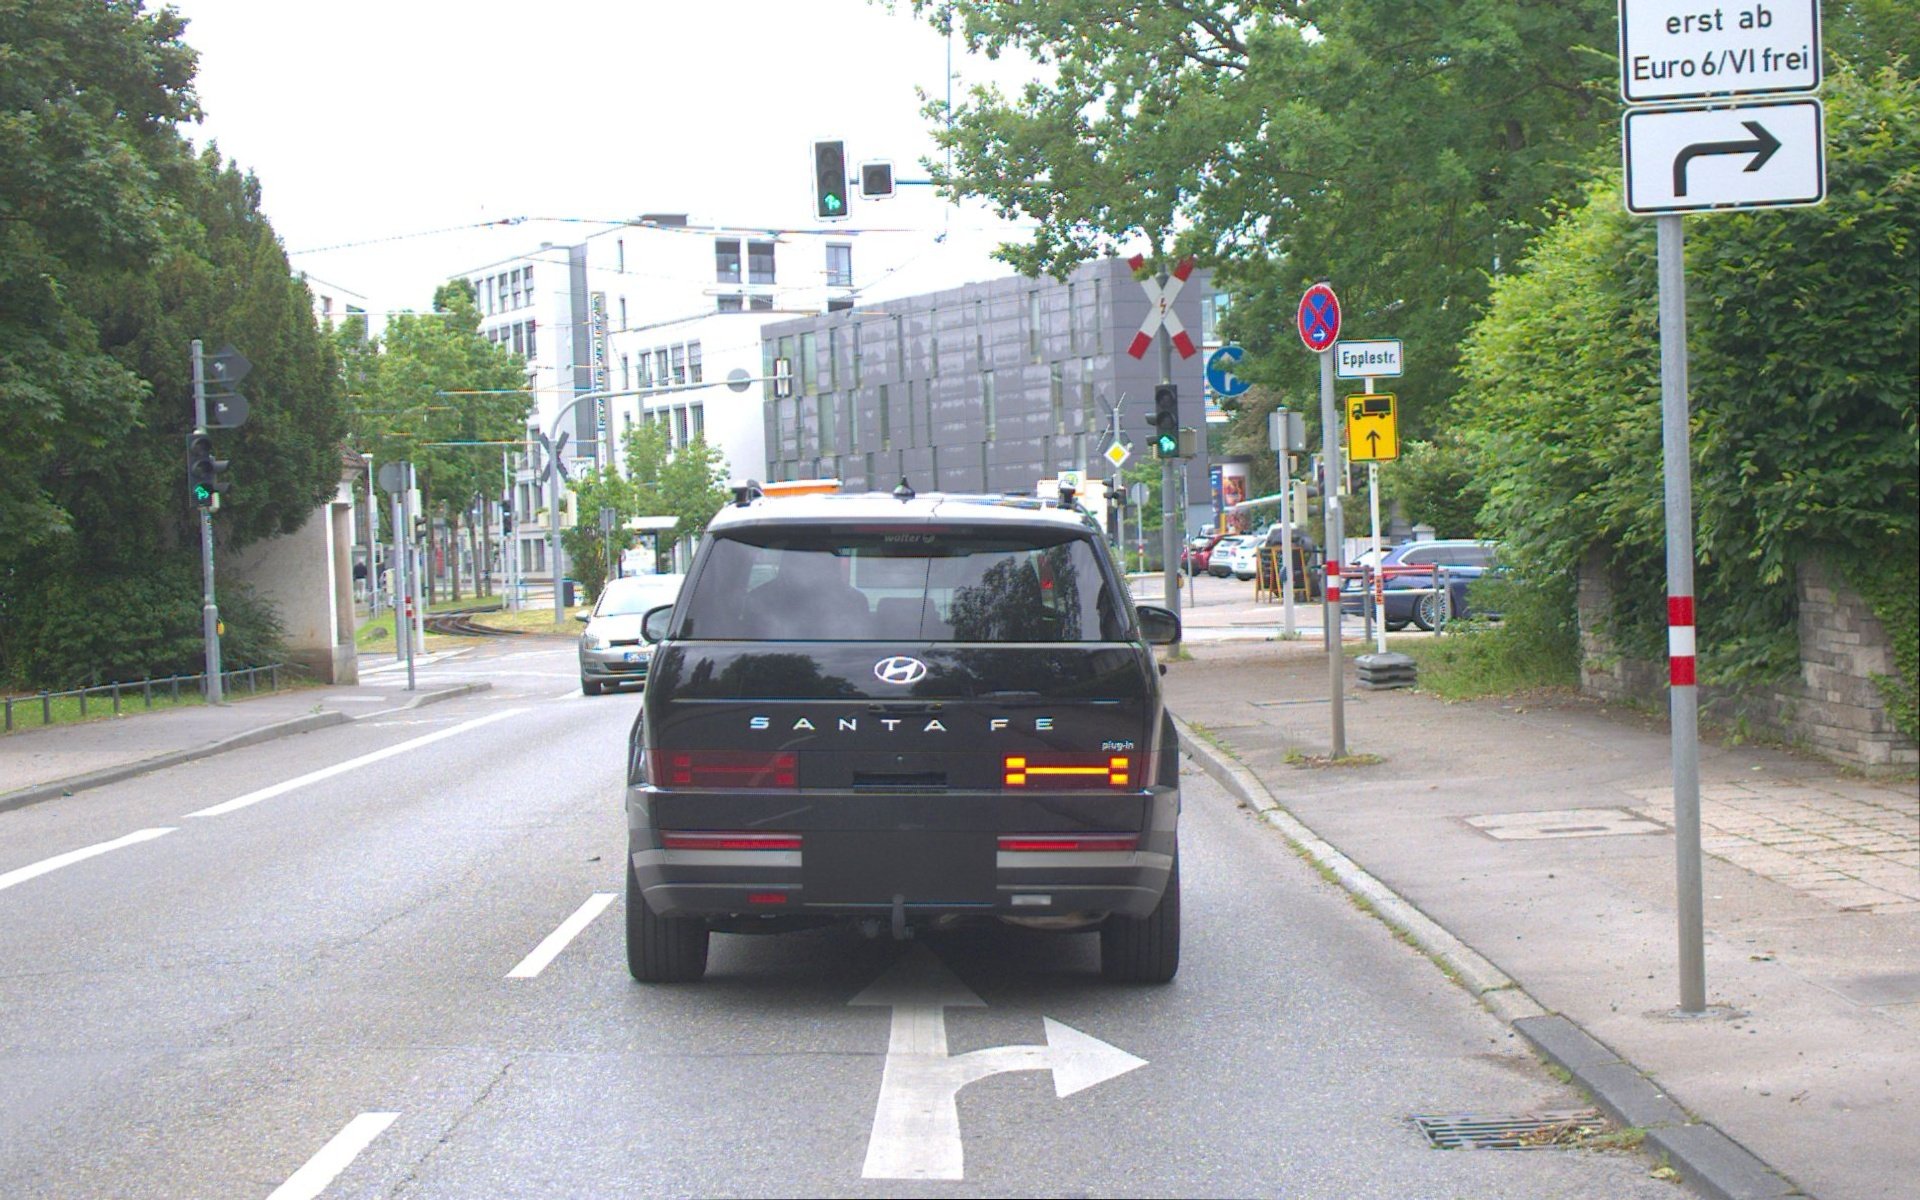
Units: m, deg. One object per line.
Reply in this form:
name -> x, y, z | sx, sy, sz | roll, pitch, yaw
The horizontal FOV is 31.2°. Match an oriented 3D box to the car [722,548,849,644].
car -> -3.196, -0.100, 62.240 | 1.883, 1.633, 3.899 | -2, 1, -8

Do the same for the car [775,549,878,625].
car -> -3.054, -0.312, 78.142 | 1.883, 1.633, 3.899 | -2, 1, -8

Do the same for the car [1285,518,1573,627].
car -> 7.723, -0.466, 56.711 | 4.280, 1.654, 1.874 | -2, 1, -19

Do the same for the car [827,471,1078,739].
car -> -0.063, 0.020, 28.662 | 1.897, 2.035, 3.994 | 1, 1, 0

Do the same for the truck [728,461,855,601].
truck -> -5.016, -1.990, 100.653 | 3.107, 3.846, 9.623 | -2, 1, -6

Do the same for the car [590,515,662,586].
car -> -11.316, -1.669, 116.326 | 2.332, 2.307, 4.959 | -2, 1, -6

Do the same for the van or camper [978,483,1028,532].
van or camper -> 1.790, -3.874, 144.603 | 1.795, 1.992, 3.824 | 1, 1, -4

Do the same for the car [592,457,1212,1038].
car -> -0.190, 0.441, 12.758 | 1.897, 1.770, 3.994 | 1, 1, 0

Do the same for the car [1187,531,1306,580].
car -> 9.857, -1.542, 118.468 | 3.987, 1.578, 1.889 | -2, 1, 3

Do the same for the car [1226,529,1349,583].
car -> 10.145, -1.375, 106.660 | 3.690, 1.578, 1.687 | -2, 1, 3

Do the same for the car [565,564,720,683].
car -> -4.152, 0.267, 44.739 | 1.883, 1.415, 4.001 | -2, 1, -6

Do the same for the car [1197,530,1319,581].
car -> 9.843, -1.478, 113.556 | 3.640, 1.578, 1.752 | -2, 1, -9
